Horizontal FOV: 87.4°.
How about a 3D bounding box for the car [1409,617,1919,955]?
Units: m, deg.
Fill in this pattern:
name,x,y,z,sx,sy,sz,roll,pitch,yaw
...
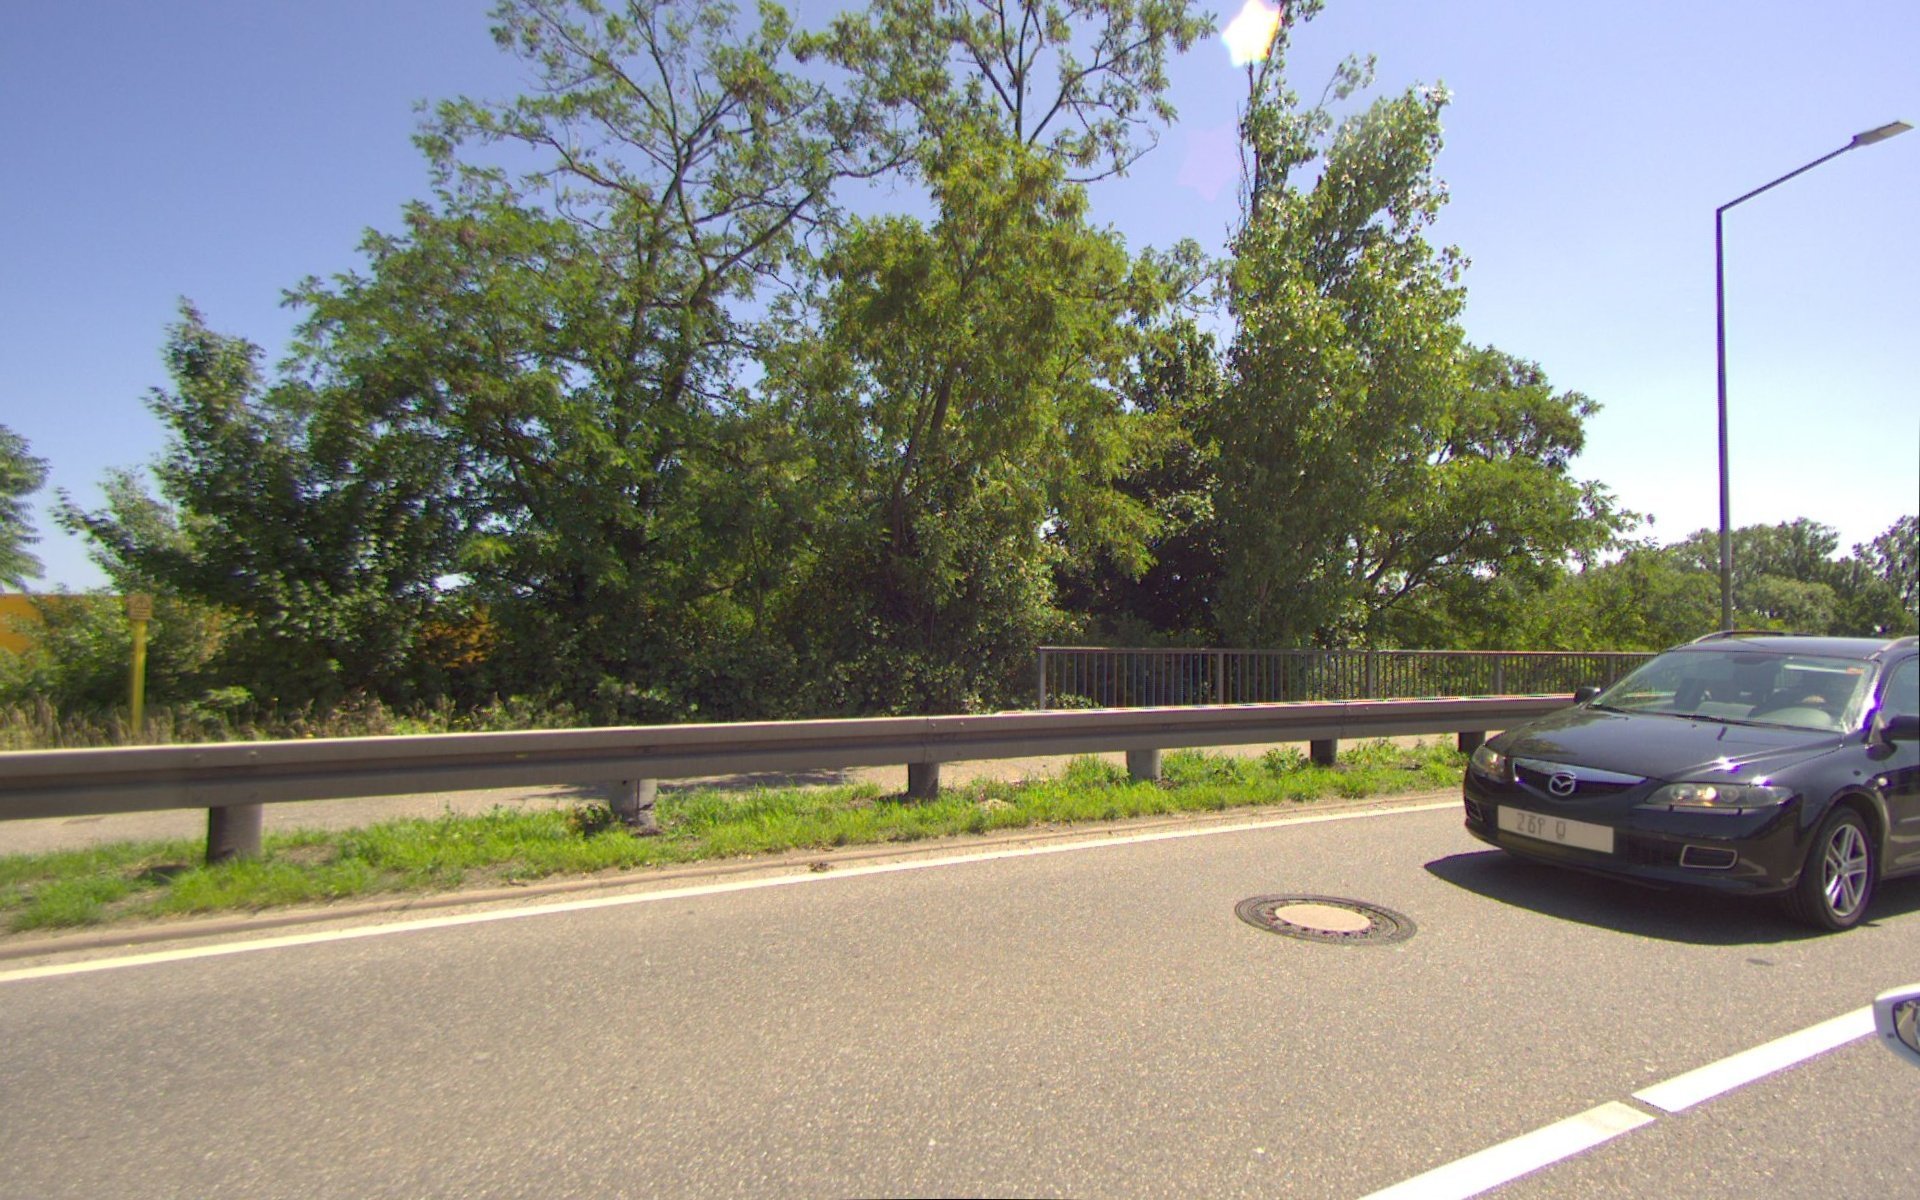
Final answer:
name,x,y,z,sx,sy,sz,roll,pitch,yaw
car,5.094,0.889,6.203,4.507,1.462,1.751,2,-1,-26
